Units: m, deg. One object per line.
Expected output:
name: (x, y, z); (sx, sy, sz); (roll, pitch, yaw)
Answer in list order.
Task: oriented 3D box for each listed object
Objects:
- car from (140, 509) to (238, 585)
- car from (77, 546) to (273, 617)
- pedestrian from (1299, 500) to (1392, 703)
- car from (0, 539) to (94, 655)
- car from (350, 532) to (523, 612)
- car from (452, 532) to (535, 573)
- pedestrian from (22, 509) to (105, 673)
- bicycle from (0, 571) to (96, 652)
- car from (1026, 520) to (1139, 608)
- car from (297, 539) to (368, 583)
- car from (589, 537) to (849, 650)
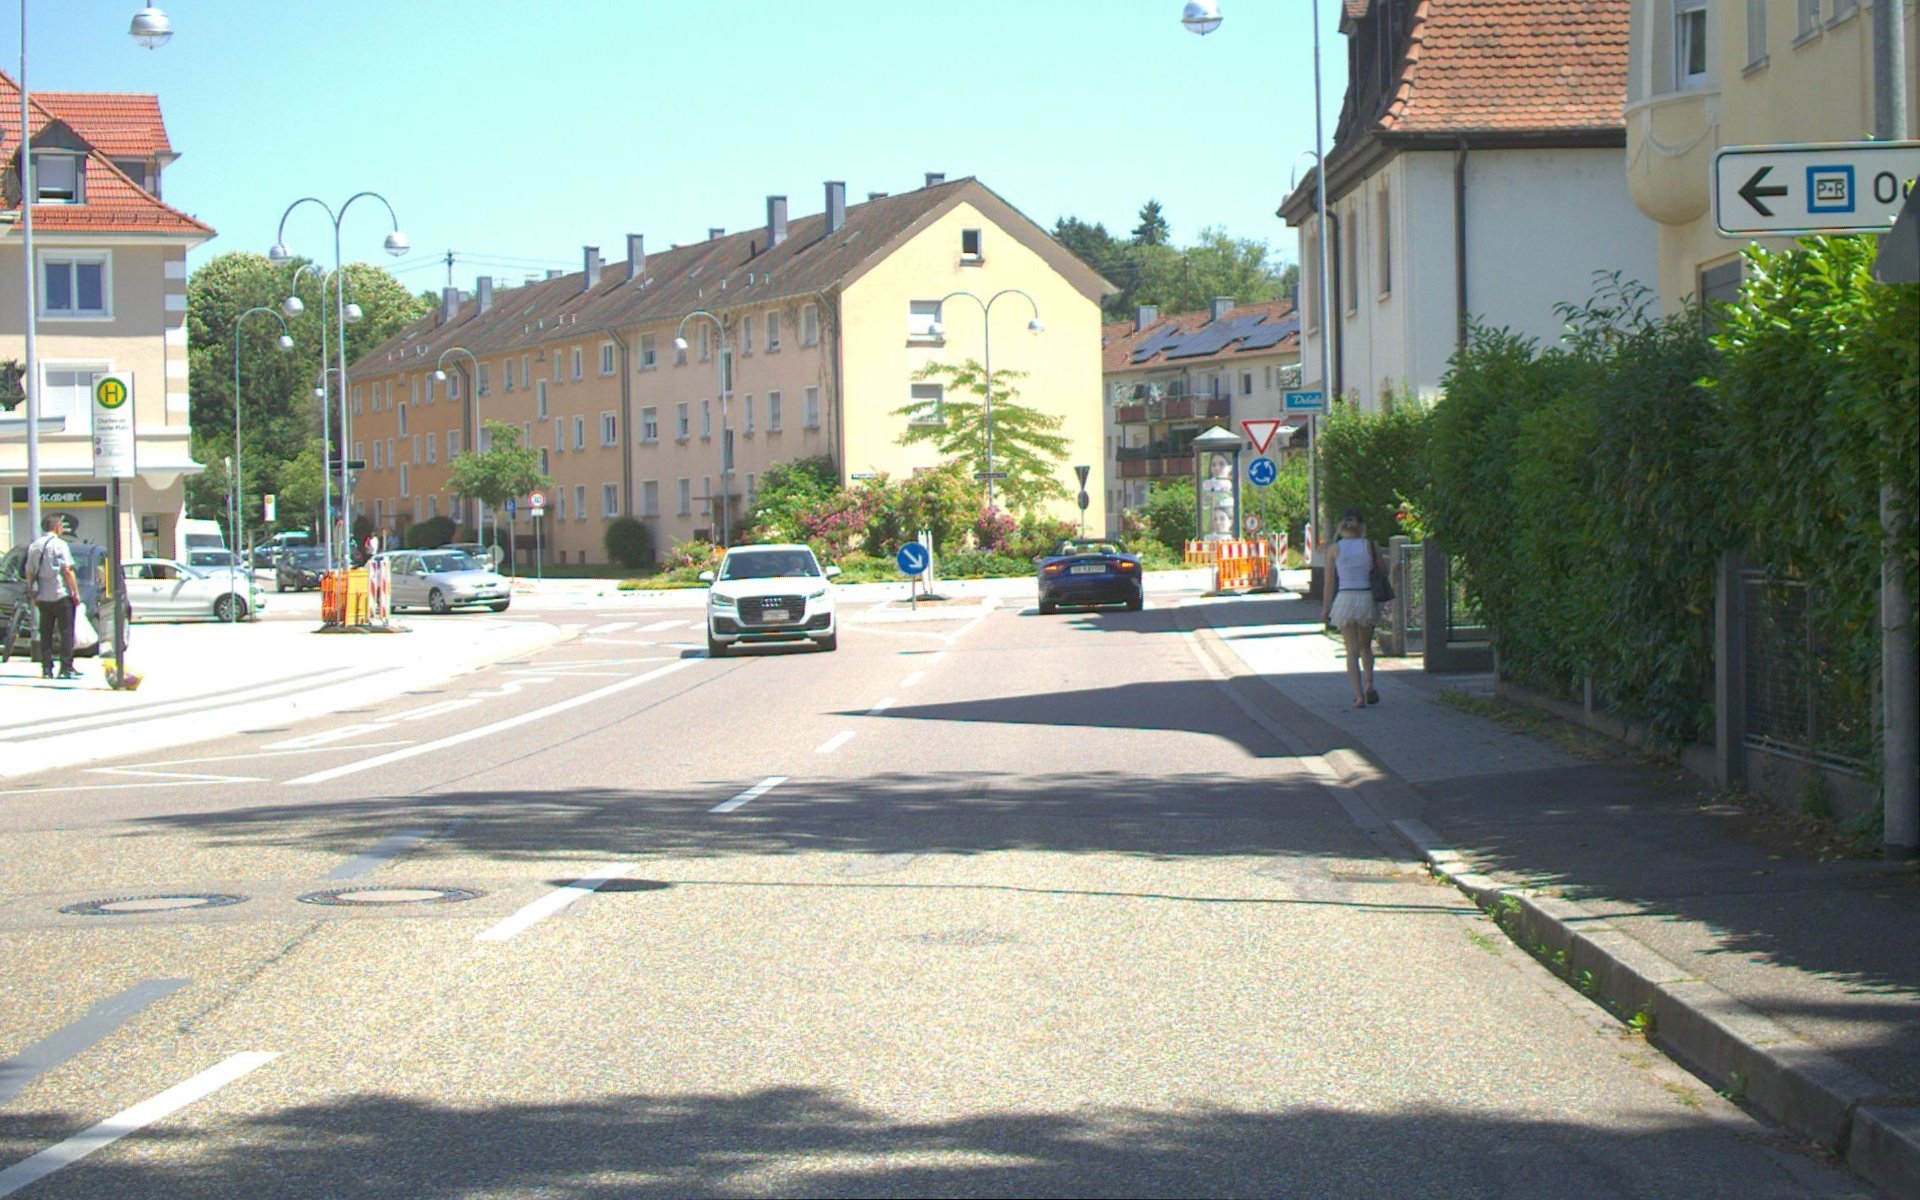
car: (-26.575, -1.797, 118.379); (2.144, 2.524, 6.239); (0, 0, -24)
car: (-17.243, -0.405, 75.624); (4.114, 1.545, 1.788); (0, 1, -10)
pedestrian: (3.171, 0.008, 28.296); (0.623, 1.638, 0.772); (-1, 1, -1)
car: (-12.940, -0.019, 47.280); (1.577, 1.529, 3.776); (-1, 0, -8)
car: (-11.761, -0.638, 77.073); (1.782, 1.741, 4.126); (0, 1, -44)
car: (-17.244, -1.737, 126.997); (1.812, 1.495, 4.001); (0, 0, -27)
pedestrian: (-10.274, -0.103, 39.430); (0.755, 1.842, 0.772); (2, 0, -6)
bicycle: (-11.540, 0.143, 43.435); (0.496, 0.974, 1.972); (3, 1, 6)
car: (2.214, -0.633, 63.275); (1.871, 1.525, 4.507); (-1, 0, 0)
car: (-25.910, -1.607, 141.896); (1.812, 1.788, 4.001); (0, 0, -27)
car: (-3.464, -0.073, 48.813); (1.821, 1.525, 3.949); (-1, -1, -37)
